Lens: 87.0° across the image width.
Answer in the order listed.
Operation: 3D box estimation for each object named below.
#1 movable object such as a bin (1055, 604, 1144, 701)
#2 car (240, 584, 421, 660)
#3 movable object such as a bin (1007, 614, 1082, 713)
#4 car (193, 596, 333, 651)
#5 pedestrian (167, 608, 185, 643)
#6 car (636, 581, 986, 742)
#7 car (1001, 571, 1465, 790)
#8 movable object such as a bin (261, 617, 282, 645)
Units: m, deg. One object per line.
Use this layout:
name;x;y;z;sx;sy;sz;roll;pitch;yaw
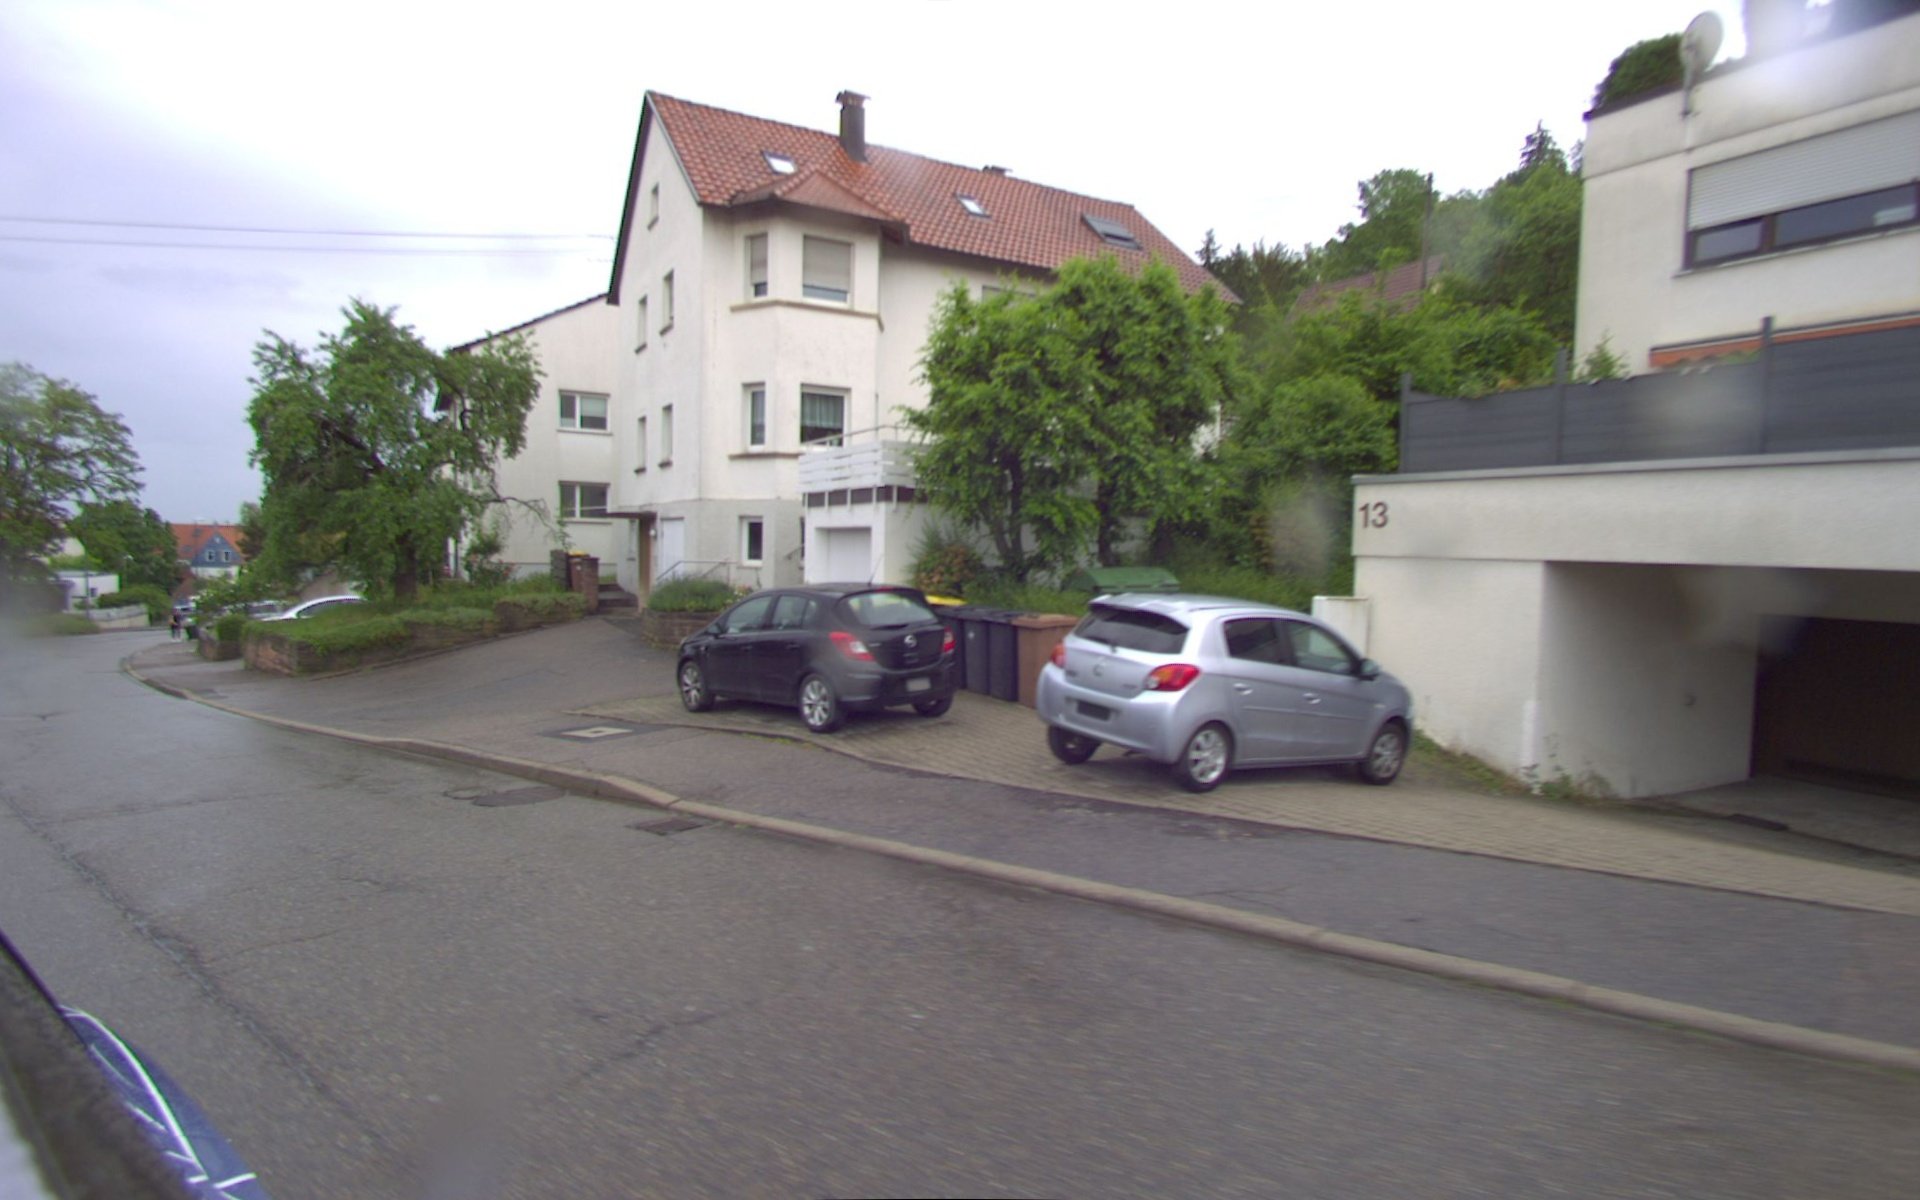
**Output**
movable object such as a bin;1.624;0.596;11.820;0.759;1.086;0.704;0;-1;-29
car;-18.172;0.578;29.433;4.197;1.441;1.772;-11;6;-30
movable object such as a bin;0.963;0.708;11.550;0.643;1.086;0.559;0;-1;-29
car;-28.281;0.924;41.192;4.452;1.625;1.937;-8;4;-36
pedestrian;-37.407;1.223;48.303;0.647;1.661;0.734;-1;-2;-39
car;-1.837;0.566;11.407;1.745;1.386;4.252;-5;3;-43
car;2.442;0.737;8.696;3.776;1.489;1.808;7;-5;-35
movable object such as a bin;-26.778;1.202;39.362;0.530;1.027;0.712;-6;3;-37
